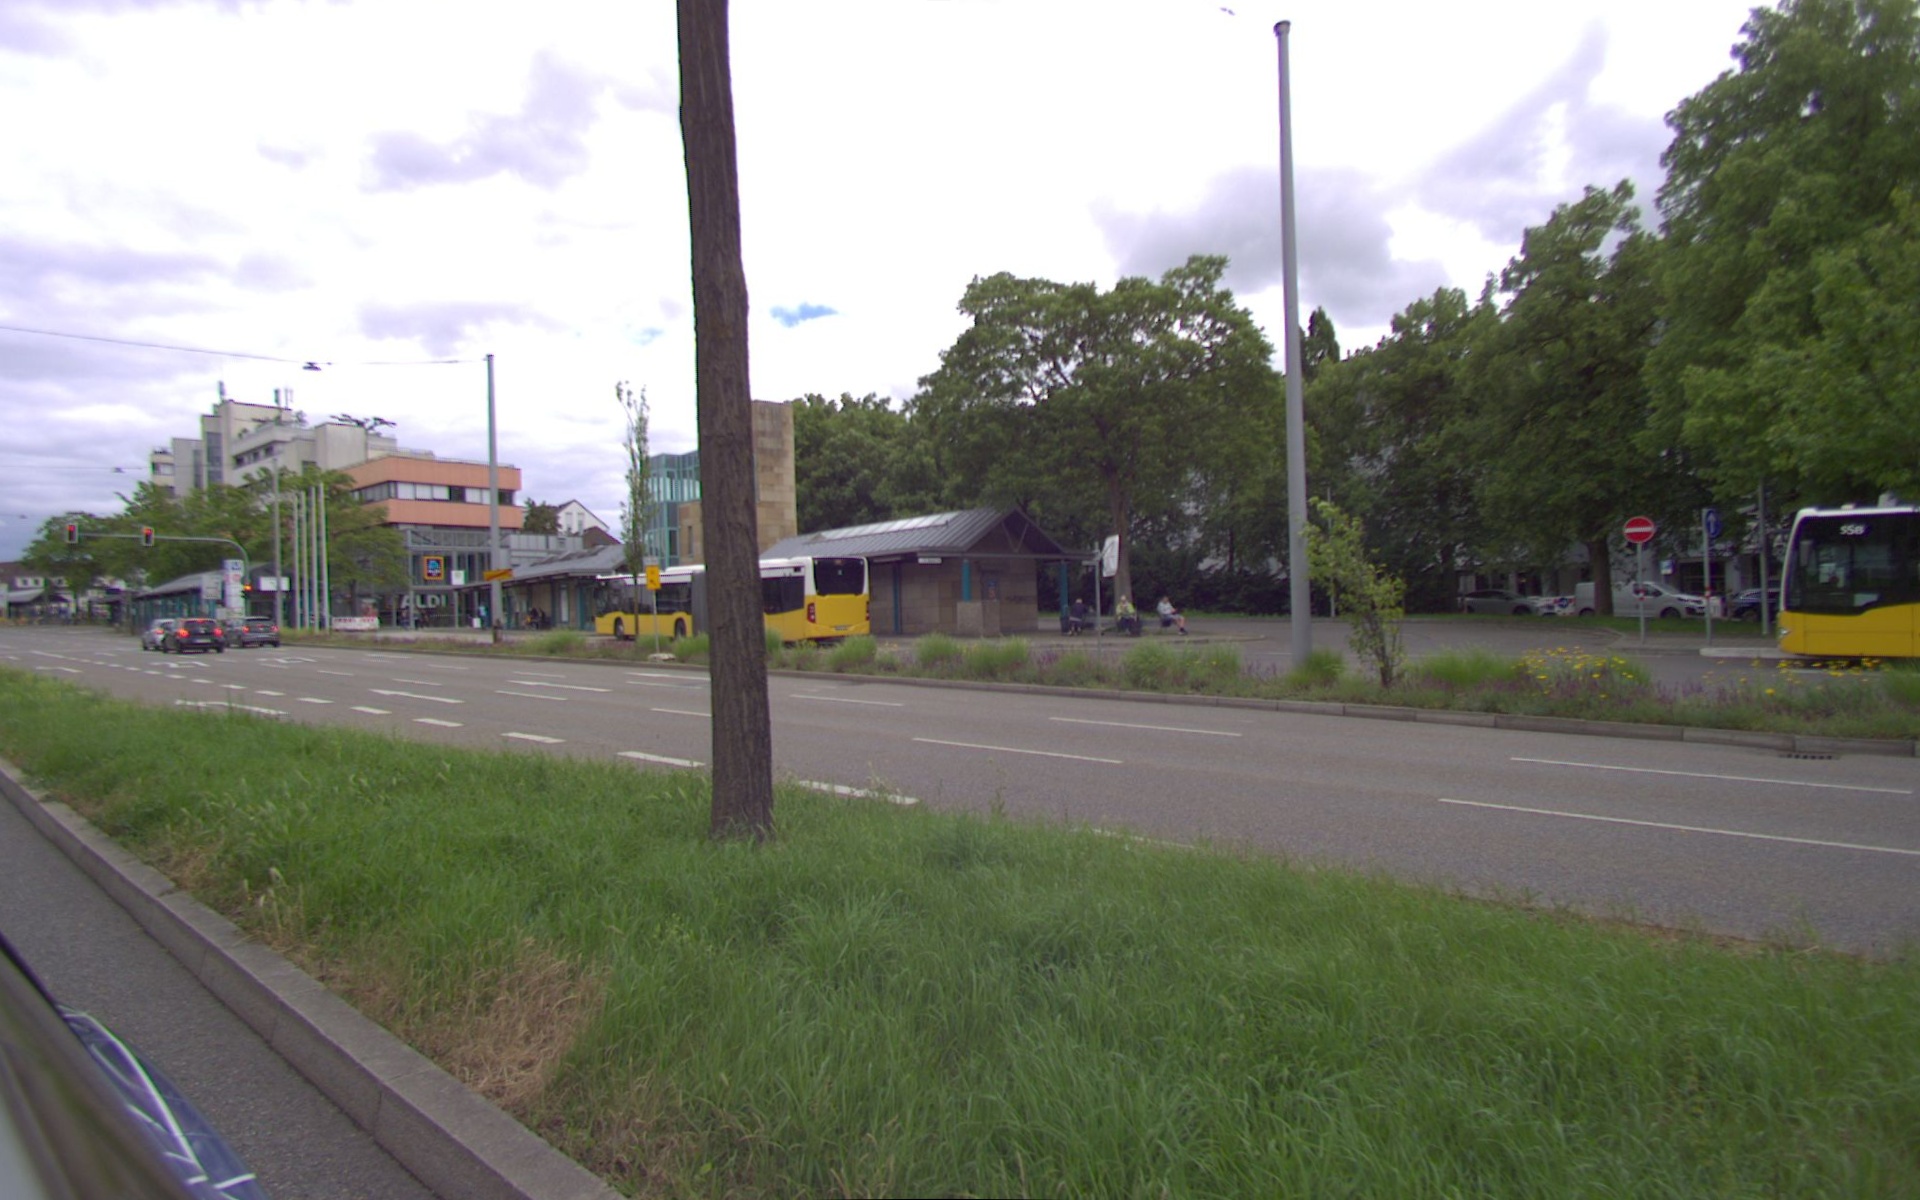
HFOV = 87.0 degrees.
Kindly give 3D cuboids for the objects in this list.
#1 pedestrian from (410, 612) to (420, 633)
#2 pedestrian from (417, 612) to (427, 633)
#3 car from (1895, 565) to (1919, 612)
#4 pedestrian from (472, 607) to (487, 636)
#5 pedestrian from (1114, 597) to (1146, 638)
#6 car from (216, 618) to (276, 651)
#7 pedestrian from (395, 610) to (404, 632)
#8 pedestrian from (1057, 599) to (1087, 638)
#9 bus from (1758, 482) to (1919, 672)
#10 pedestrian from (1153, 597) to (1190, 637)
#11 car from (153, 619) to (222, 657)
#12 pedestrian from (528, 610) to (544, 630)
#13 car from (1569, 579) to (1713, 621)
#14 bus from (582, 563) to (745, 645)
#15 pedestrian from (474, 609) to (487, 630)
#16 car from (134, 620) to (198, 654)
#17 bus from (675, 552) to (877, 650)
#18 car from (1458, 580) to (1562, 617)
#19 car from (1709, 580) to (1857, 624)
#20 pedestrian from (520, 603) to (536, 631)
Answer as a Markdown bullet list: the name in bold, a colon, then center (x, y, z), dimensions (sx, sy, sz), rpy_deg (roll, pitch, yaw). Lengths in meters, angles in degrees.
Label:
- **pedestrian**: center (-40.858, 1.711, 75.873), dimensions (0.382, 1.559, 0.480), rpy_deg (-2, 0, 32)
- **pedestrian**: center (-40.835, 1.678, 76.820), dimensions (0.380, 1.559, 0.483), rpy_deg (-1, 0, 12)
- **car**: center (36.572, -0.470, 35.367), dimensions (1.967, 1.661, 5.416), rpy_deg (-1, -1, -34)
- **pedestrian**: center (-28.222, 1.274, 59.419), dimensions (0.658, 1.662, 0.612), rpy_deg (-1, -1, 45)
- **pedestrian**: center (5.461, 0.552, 32.491), dimensions (0.888, 1.300, 0.853), rpy_deg (-1, -1, 17)
- **car**: center (-35.581, 1.697, 50.388), dimensions (4.002, 1.519, 1.794), rpy_deg (-1, 0, 45)
- **pedestrian**: center (-41.692, 1.569, 75.299), dimensions (0.522, 1.559, 0.756), rpy_deg (-1, 0, -34)
- **pedestrian**: center (3.756, 0.626, 33.929), dimensions (0.886, 1.264, 0.855), rpy_deg (-1, -1, 12)
- **bus**: center (19.529, -0.524, 15.889), dimensions (10.737, 3.186, 3.050), rpy_deg (-2, 2, 43)
- **pedestrian**: center (6.958, 0.555, 33.332), dimensions (0.857, 1.264, 0.883), rpy_deg (-2, -1, 41)
- **car**: center (-33.523, 1.618, 43.899), dimensions (3.766, 1.519, 1.641), rpy_deg (-1, 0, 41)
- **pedestrian**: center (-24.764, 1.182, 59.088), dimensions (0.658, 1.129, 0.612), rpy_deg (-1, 0, 45)
- **car**: center (30.185, 0.019, 45.001), dimensions (1.967, 1.736, 4.927), rpy_deg (-1, 0, -36)
- **bus**: center (-13.052, 0.234, 43.883), dimensions (2.743, 3.155, 9.448), rpy_deg (-3, 1, -43)
- **pedestrian**: center (-34.137, 1.376, 72.008), dimensions (0.582, 1.472, 0.994), rpy_deg (-1, 0, -38)
- **car**: center (-37.810, 1.762, 48.167), dimensions (3.788, 1.476, 1.727), rpy_deg (-3, -1, 41)
- **bus**: center (-7.013, 0.075, 37.142), dimensions (2.775, 3.155, 9.312), rpy_deg (-3, 1, -41)
- **car**: center (26.980, -0.057, 49.740), dimensions (1.967, 1.696, 4.009), rpy_deg (-1, 0, -36)
- **car**: center (33.040, 0.096, 40.717), dimensions (1.967, 1.696, 4.236), rpy_deg (-1, 0, -36)
- **pedestrian**: center (-25.581, 1.003, 59.923), dimensions (0.658, 1.662, 0.612), rpy_deg (-1, -1, 45)
